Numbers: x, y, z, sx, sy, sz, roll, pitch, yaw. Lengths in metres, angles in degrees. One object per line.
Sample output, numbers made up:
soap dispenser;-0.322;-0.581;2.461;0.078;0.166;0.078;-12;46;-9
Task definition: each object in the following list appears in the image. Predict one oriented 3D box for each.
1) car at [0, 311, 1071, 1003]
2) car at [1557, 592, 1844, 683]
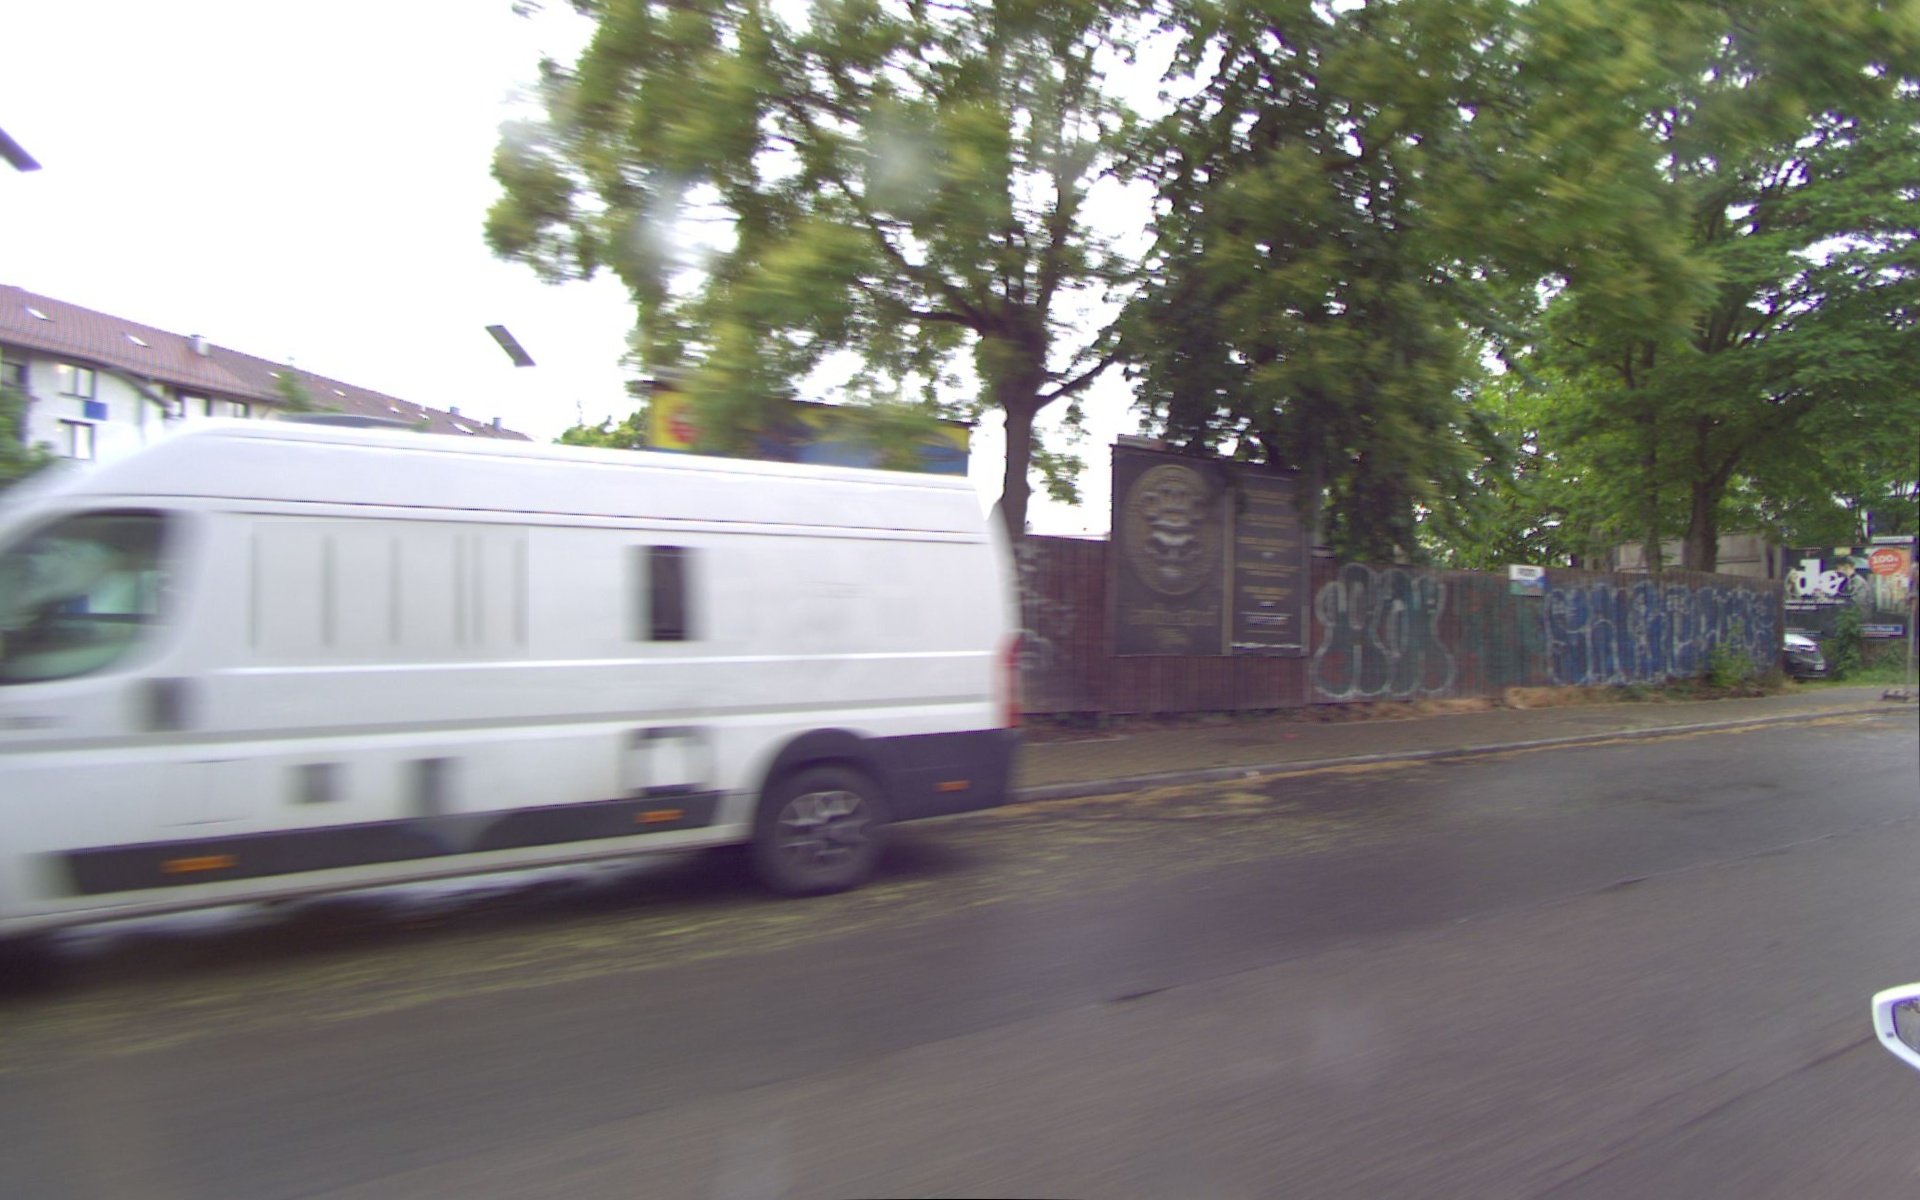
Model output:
car;-2.631;0.287;5.694;6.462;2.612;2.219;1;-3;-31
car;18.593;0.968;25.569;2.122;2.035;5.472;1;-3;-31
